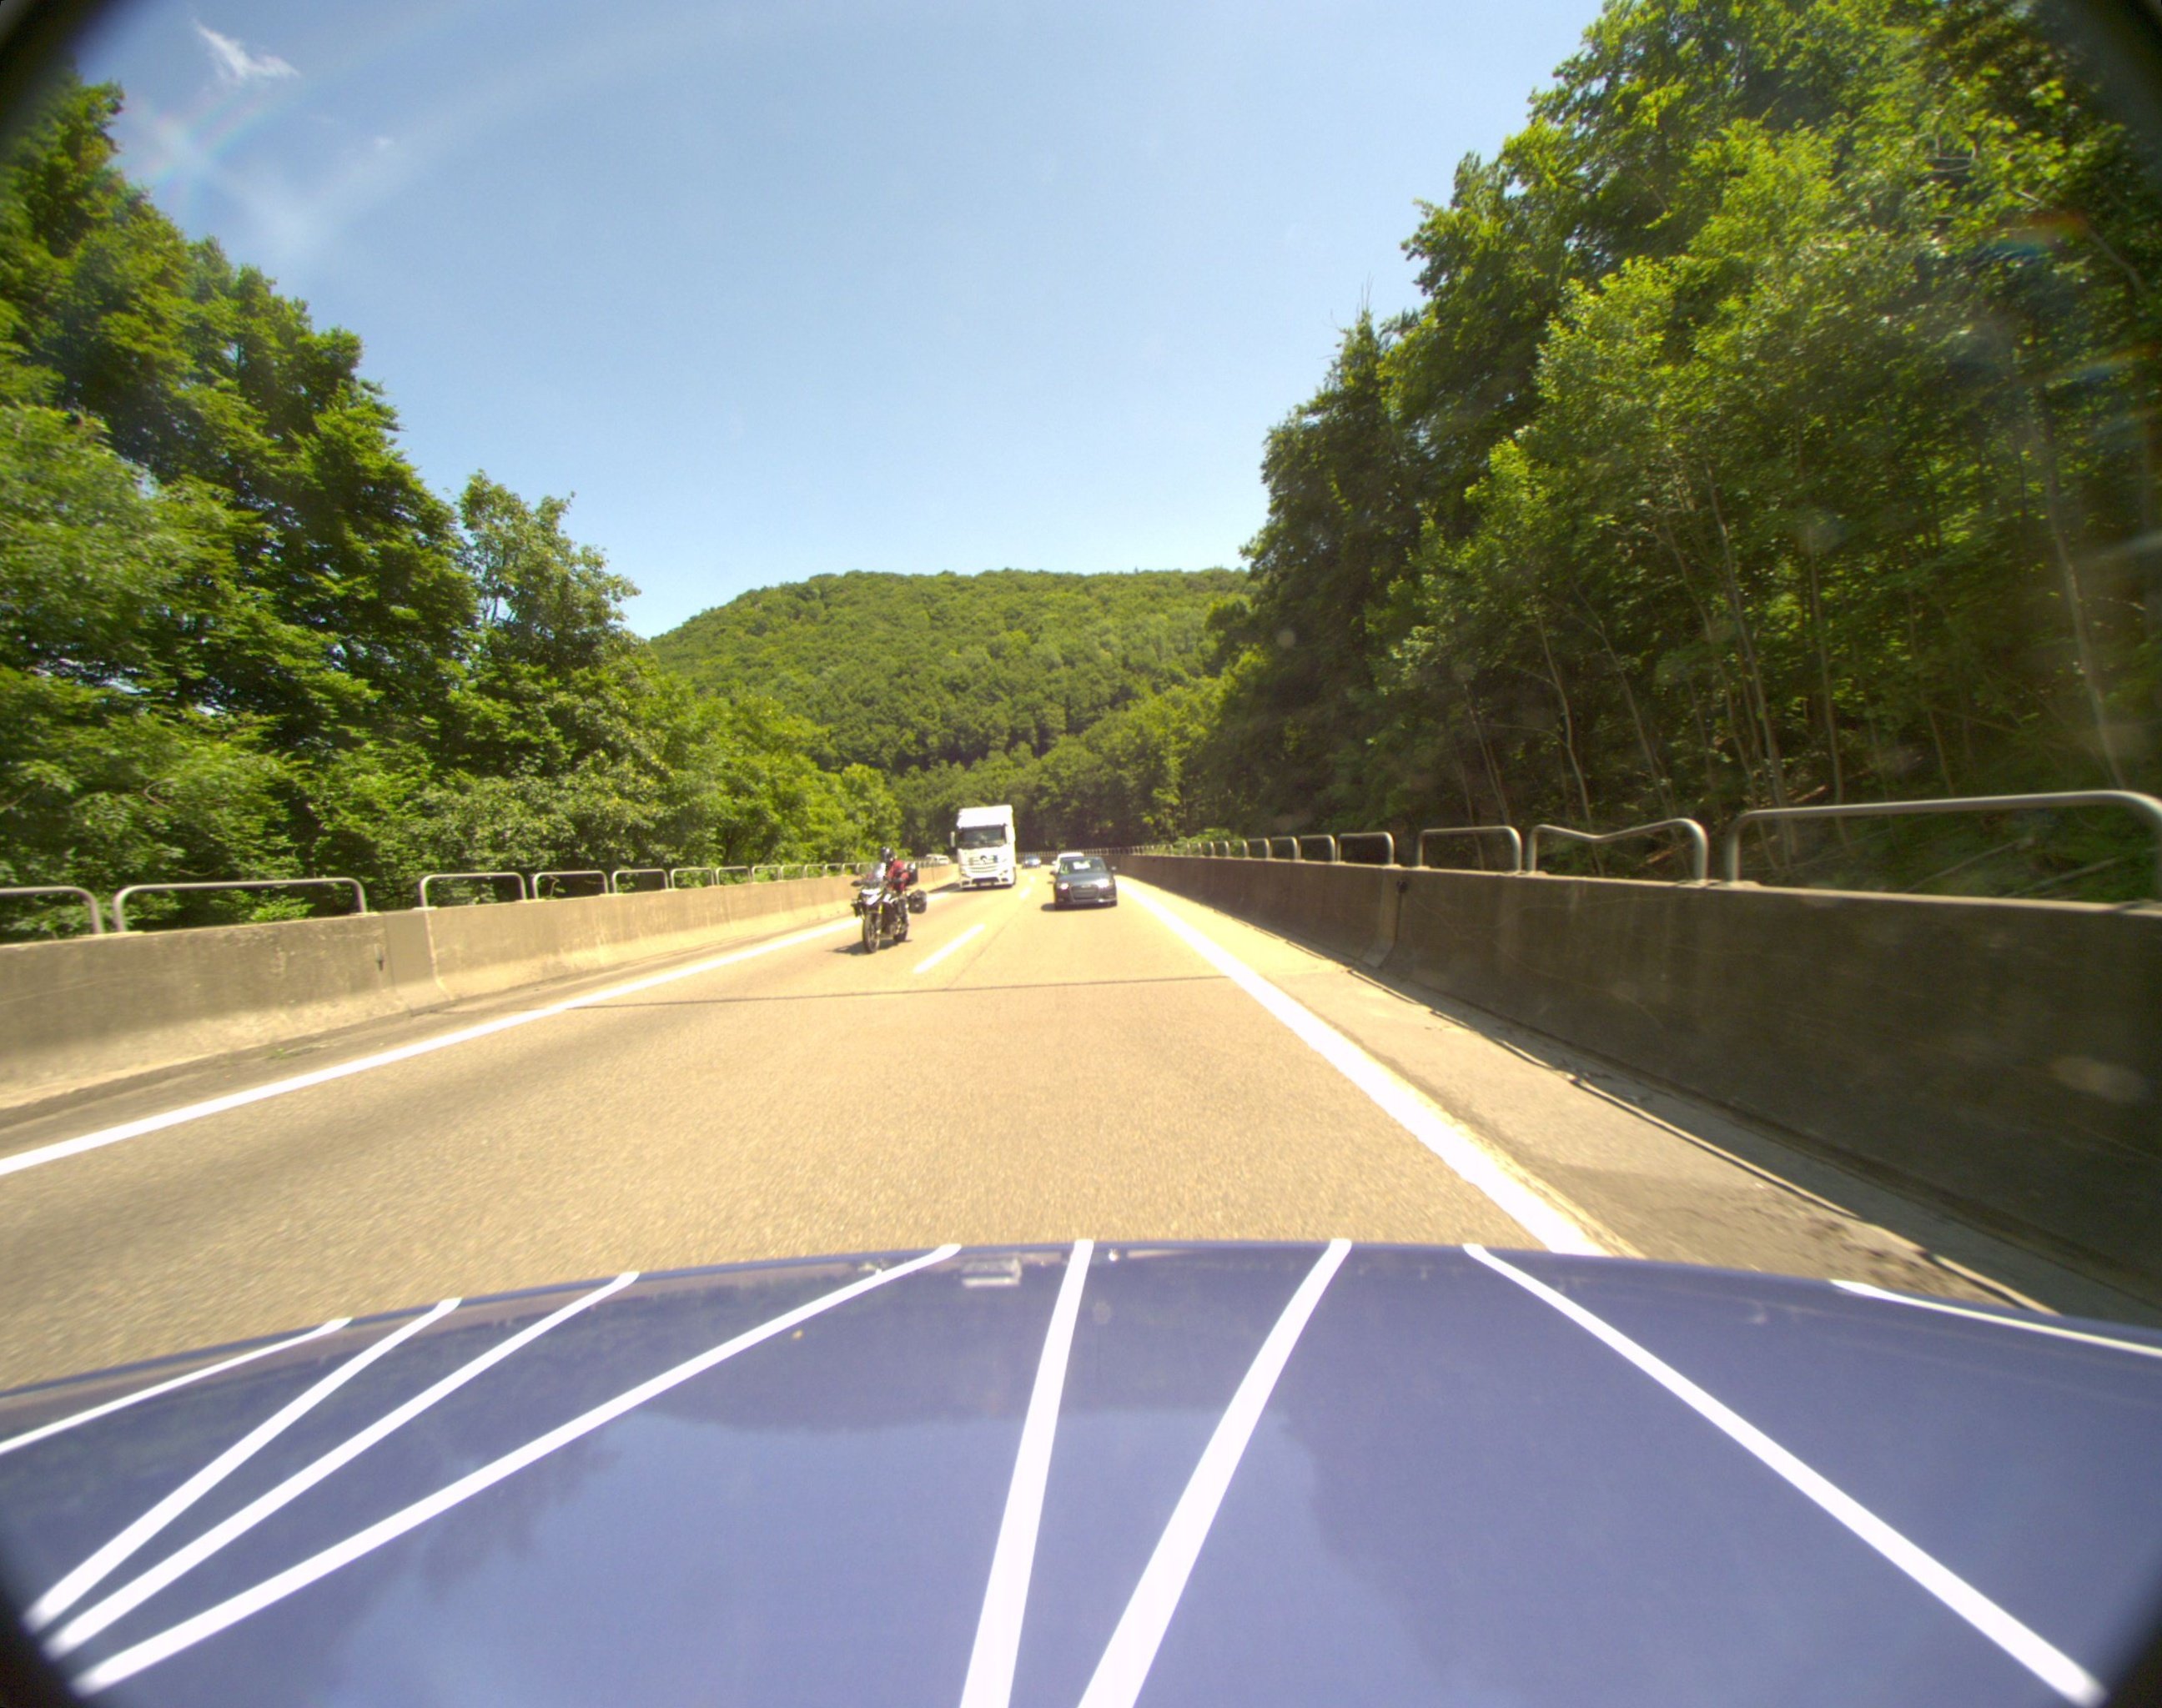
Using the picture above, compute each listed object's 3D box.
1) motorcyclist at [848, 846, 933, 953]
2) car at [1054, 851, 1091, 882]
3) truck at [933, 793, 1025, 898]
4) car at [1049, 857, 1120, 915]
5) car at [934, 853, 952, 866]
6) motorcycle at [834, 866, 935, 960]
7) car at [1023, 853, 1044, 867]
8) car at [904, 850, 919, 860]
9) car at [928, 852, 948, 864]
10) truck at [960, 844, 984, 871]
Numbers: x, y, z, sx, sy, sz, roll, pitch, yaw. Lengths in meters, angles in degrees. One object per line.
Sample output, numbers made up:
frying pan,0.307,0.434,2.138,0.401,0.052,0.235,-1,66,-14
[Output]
motorcyclist,-3.402,0.772,13.714,1.063,1.790,1.338,-3,1,1
car,-0.468,0.631,39.745,1.755,1.460,3.981,-3,1,-2
truck,-4.809,-0.400,39.642,2.969,4.108,16.702,-4,0,-2
car,0.088,0.830,21.599,1.755,1.350,4.121,-3,0,0
car,-21.964,0.871,120.666,2.002,2.002,3.993,-3,1,-23
motorcycle,-3.411,0.965,13.519,0.975,1.411,2.681,-3,1,1
car,-5.201,0.647,82.576,1.757,1.480,3.978,-3,1,-9
car,-36.102,0.198,161.840,2.003,1.783,3.991,-5,1,-31
car,-23.914,0.686,126.699,2.003,2.002,3.991,-3,1,-28
truck,-13.809,0.408,96.034,2.618,3.084,6.849,-4,1,-9
